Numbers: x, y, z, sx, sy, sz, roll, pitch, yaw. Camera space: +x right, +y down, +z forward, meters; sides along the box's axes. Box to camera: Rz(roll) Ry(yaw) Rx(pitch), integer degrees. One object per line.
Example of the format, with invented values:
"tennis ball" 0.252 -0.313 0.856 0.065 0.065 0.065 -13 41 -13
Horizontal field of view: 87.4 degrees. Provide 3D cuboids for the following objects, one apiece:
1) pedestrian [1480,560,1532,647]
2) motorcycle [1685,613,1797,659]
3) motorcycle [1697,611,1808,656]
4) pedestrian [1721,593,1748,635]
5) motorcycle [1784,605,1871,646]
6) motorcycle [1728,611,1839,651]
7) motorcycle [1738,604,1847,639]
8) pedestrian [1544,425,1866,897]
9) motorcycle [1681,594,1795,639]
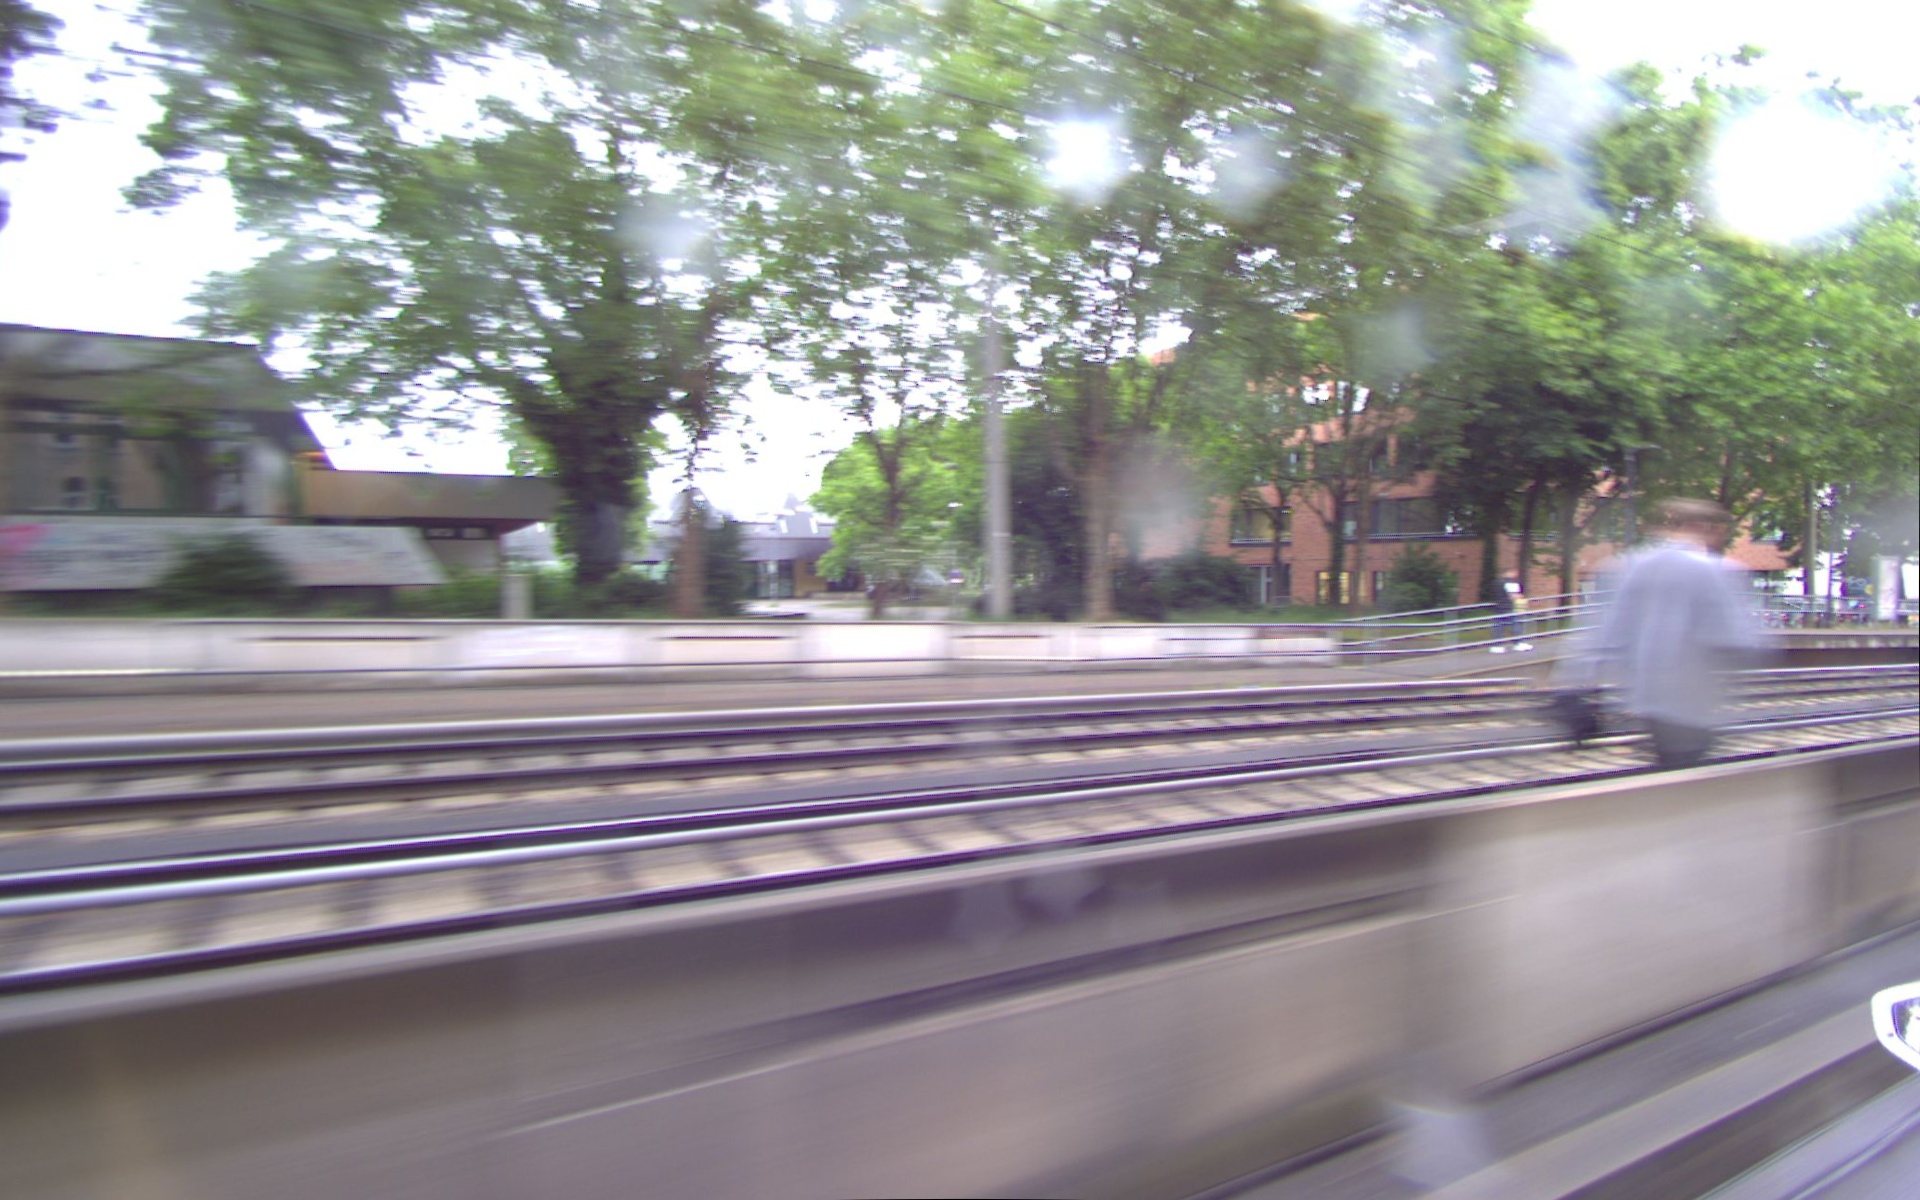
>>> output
"pedestrian" 10.871 0.060 20.001 0.679 1.686 0.654 -3 3 -30
"motorcycle" 35.067 1.577 45.207 0.995 1.840 3.844 2 1 -30
"motorcycle" 36.049 1.491 45.781 0.995 1.840 3.844 2 1 -30
"pedestrian" 38.957 0.697 50.520 0.968 2.040 0.729 2 1 -29
"motorcycle" 42.314 1.244 49.025 0.982 1.840 3.021 2 1 -30
"motorcycle" 38.105 1.421 46.595 0.995 1.627 3.844 2 1 -30
"motorcycle" 39.646 0.991 47.918 0.995 1.507 3.844 2 1 -30
"pedestrian" 3.263 0.235 4.442 0.778 1.823 0.855 1 1 -30
"motorcycle" 34.041 0.676 44.050 0.995 1.797 3.844 2 1 -30
